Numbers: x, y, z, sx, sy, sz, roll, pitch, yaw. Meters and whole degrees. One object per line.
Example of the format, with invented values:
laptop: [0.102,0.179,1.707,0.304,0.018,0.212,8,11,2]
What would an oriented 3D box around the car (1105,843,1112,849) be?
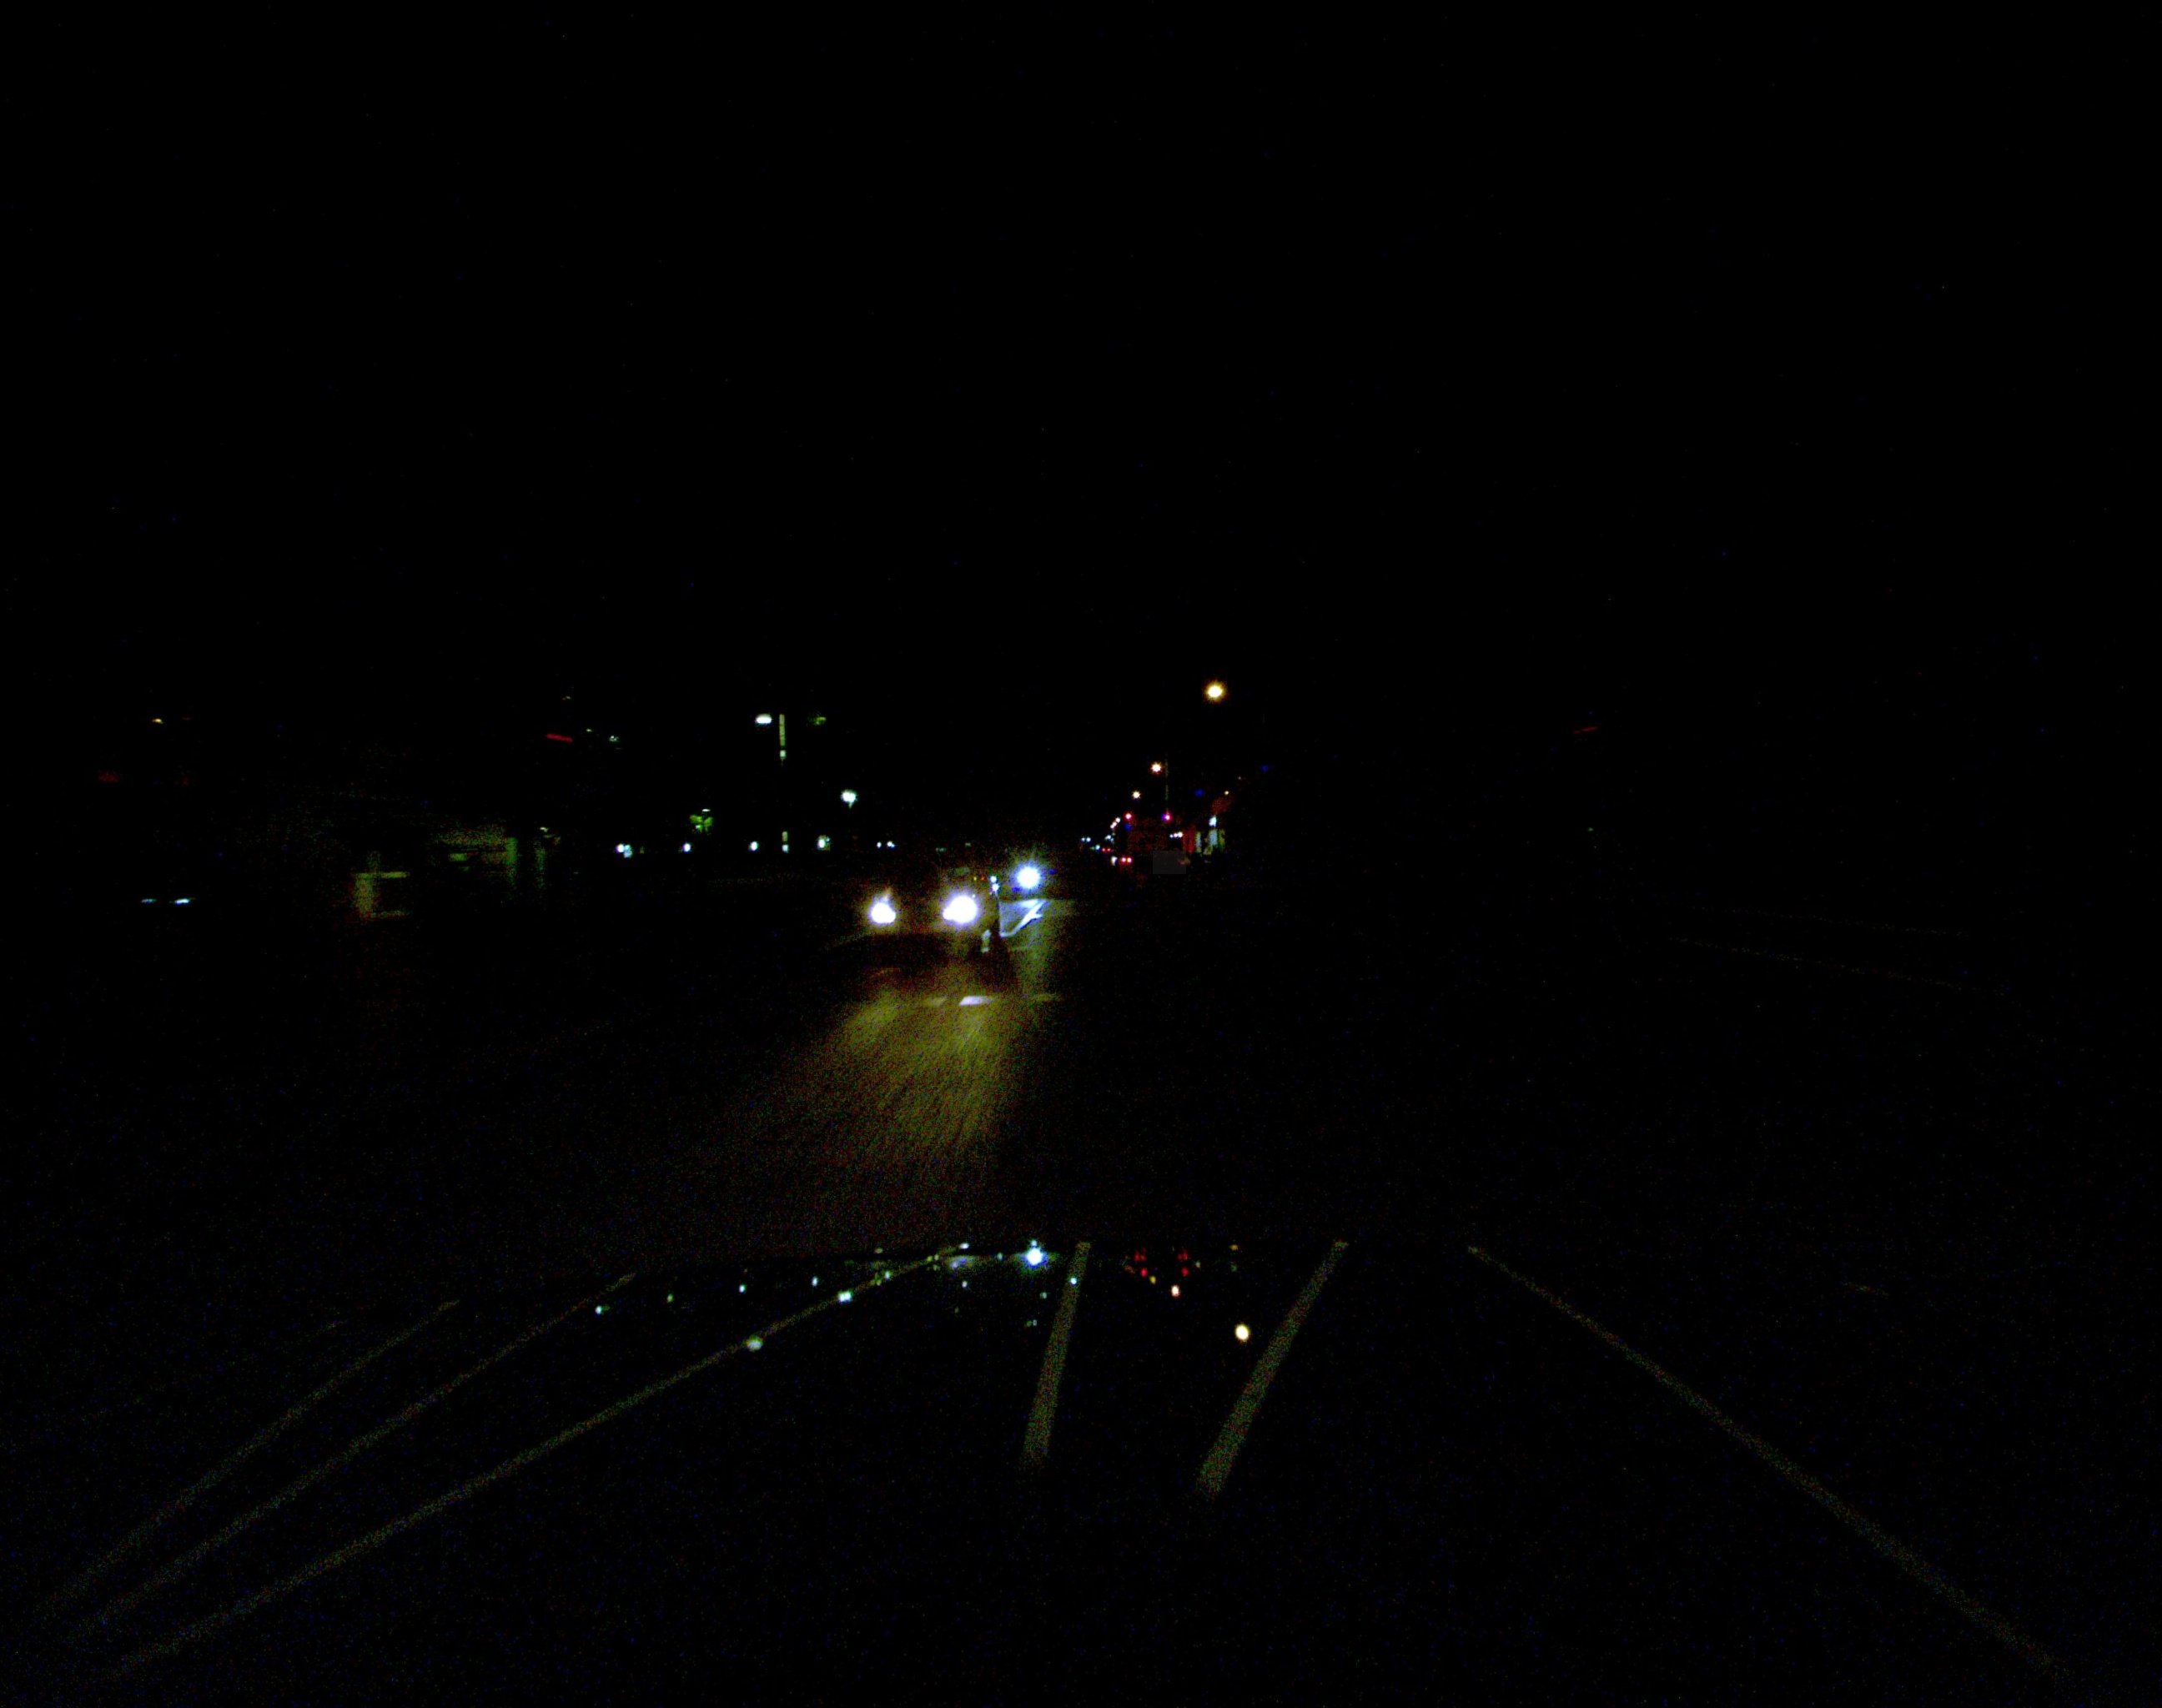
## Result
car: [7.092,-1.987,195.910,1.671,1.420,3.999,0,1,0]

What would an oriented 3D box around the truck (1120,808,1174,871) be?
truck: [4.192,-0.969,50.584,2.762,3.697,10.111,2,1,1]

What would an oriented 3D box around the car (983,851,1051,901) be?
car: [-2.229,0.727,27.634,1.809,1.485,4.729,-3,1,2]

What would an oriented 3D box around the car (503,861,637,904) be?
car: [-18.008,0.973,27.087,1.516,1.387,4.484,0,-1,4]

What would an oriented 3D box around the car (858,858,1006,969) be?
car: [-2.393,0.900,13.218,1.641,1.486,4.000,-3,1,1]
